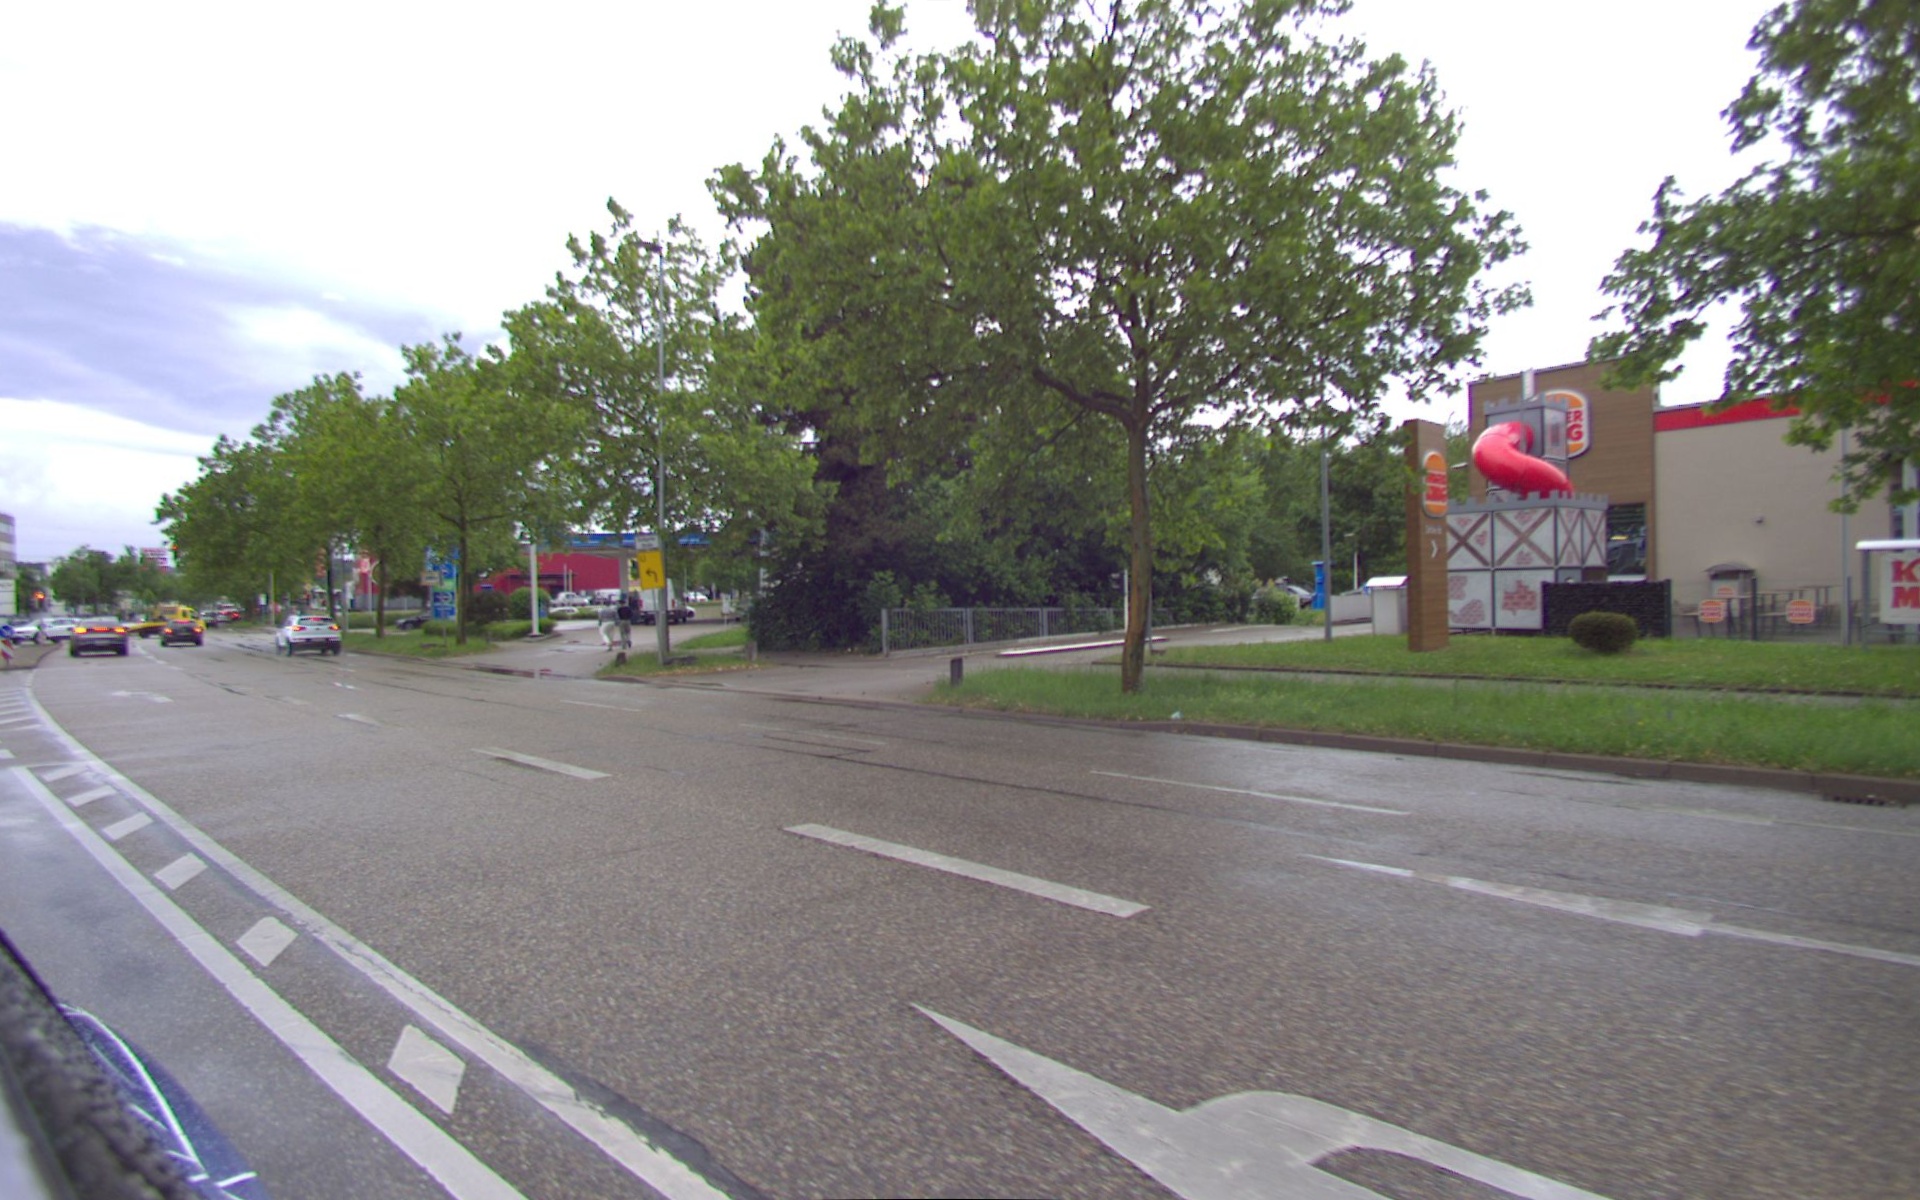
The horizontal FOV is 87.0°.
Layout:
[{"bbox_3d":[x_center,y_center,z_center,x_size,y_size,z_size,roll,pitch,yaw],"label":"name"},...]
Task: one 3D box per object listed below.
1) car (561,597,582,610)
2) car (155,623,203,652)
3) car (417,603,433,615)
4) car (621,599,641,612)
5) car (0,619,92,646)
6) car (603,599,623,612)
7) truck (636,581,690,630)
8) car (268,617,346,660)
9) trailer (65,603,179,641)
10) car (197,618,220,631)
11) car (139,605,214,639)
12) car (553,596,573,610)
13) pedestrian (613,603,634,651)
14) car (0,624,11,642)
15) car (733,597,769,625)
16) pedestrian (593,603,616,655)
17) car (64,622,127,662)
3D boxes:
[{"bbox_3d":[-46.204,0.407,120.317,1.645,1.391,3.920,0,-1,-33],"label":"car"},{"bbox_3d":[-44.144,2.076,57.168,1.968,1.520,4.738,0,-1,-40],"label":"car"},{"bbox_3d":[-73.556,1.260,139.157,1.669,1.658,3.973,0,-1,-33],"label":"car"},{"bbox_3d":[-46.460,0.770,142.997,1.645,1.658,3.973,0,-1,-33],"label":"car"},{"bbox_3d":[-58.855,2.087,65.235,1.885,1.565,3.978,-1,0,17],"label":"car"},{"bbox_3d":[-48.561,0.780,141.583,1.645,1.658,3.973,0,-1,-33],"label":"car"},{"bbox_3d":[-17.646,0.415,60.457,2.120,2.695,7.888,-1,-1,-9],"label":"truck"},{"bbox_3d":[-26.910,1.527,41.651,1.905,1.631,4.402,0,0,-44],"label":"car"},{"bbox_3d":[-61.622,1.577,74.684,2.276,2.492,7.979,-3,0,-5],"label":"trailer"},{"bbox_3d":[-85.456,2.813,115.141,1.758,1.415,4.011,0,-1,-32],"label":"car"},{"bbox_3d":[-62.059,1.675,80.268,2.213,2.492,5.019,-3,0,-4],"label":"car"},{"bbox_3d":[-48.527,0.366,123.683,1.605,1.658,3.837,0,-1,-33],"label":"car"},{"bbox_3d":[-11.927,0.960,35.847,0.541,1.695,0.506,-2,-2,44],"label":"pedestrian"},{"bbox_3d":[-79.976,2.748,83.733,1.727,1.475,4.008,-1,-1,-38],"label":"car"},{"bbox_3d":[-12.867,0.660,62.583,1.664,1.594,3.566,-1,1,-3],"label":"car"},{"bbox_3d":[-12.387,0.999,35.271,0.655,1.780,0.585,-2,0,-25],"label":"pedestrian"},{"bbox_3d":[-36.967,1.747,43.235,1.790,1.574,4.602,0,0,-44],"label":"car"}]
